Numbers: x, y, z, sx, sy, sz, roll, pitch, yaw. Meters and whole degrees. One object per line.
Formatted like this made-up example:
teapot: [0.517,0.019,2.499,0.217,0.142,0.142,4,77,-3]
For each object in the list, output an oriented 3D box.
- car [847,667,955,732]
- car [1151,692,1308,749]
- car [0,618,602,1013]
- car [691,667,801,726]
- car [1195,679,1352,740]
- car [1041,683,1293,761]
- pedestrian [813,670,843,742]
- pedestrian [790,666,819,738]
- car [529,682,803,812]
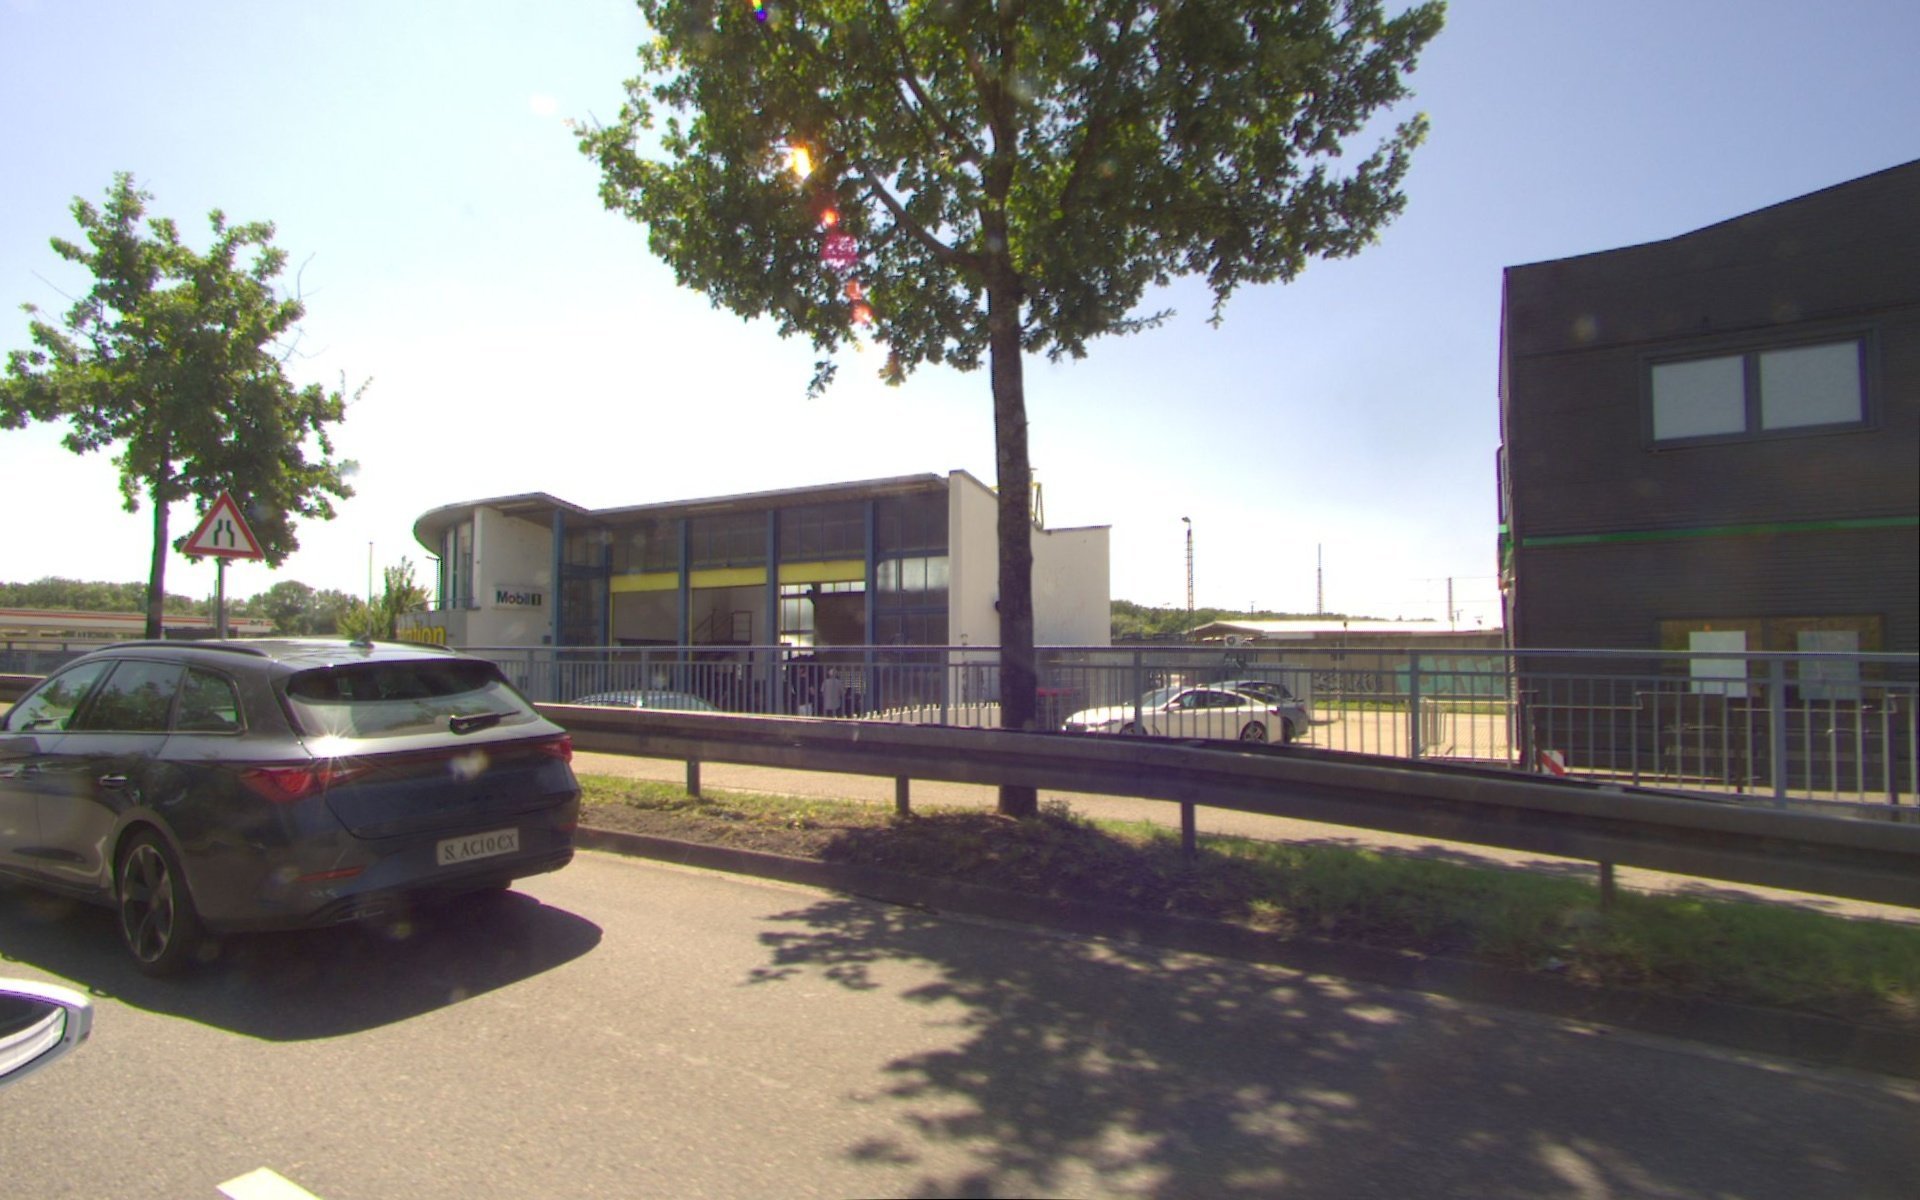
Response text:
car: [-1.642,2.824,29.136,1.624,1.705,3.670,-1,-3,25]
car: [6.743,2.986,25.138,3.547,1.268,1.479,1,-3,-14]
car: [-4.035,0.896,5.522,4.173,1.474,1.603,-2,-3,31]
car: [-6.770,3.016,32.045,1.623,1.705,3.671,-1,-3,24]
car: [9.187,3.158,29.333,4.327,1.578,1.652,1,-3,-22]
car: [4.408,2.524,21.337,4.999,1.374,1.995,1,-3,-22]
pedestrian: [-3.200,2.551,24.222,0.580,1.724,0.426,-1,-2,29]
pedestrian: [-3.809,2.494,24.513,0.481,1.724,0.521,-1,-2,30]
car: [-4.296,2.021,14.511,3.842,1.551,1.631,-2,-3,30]
